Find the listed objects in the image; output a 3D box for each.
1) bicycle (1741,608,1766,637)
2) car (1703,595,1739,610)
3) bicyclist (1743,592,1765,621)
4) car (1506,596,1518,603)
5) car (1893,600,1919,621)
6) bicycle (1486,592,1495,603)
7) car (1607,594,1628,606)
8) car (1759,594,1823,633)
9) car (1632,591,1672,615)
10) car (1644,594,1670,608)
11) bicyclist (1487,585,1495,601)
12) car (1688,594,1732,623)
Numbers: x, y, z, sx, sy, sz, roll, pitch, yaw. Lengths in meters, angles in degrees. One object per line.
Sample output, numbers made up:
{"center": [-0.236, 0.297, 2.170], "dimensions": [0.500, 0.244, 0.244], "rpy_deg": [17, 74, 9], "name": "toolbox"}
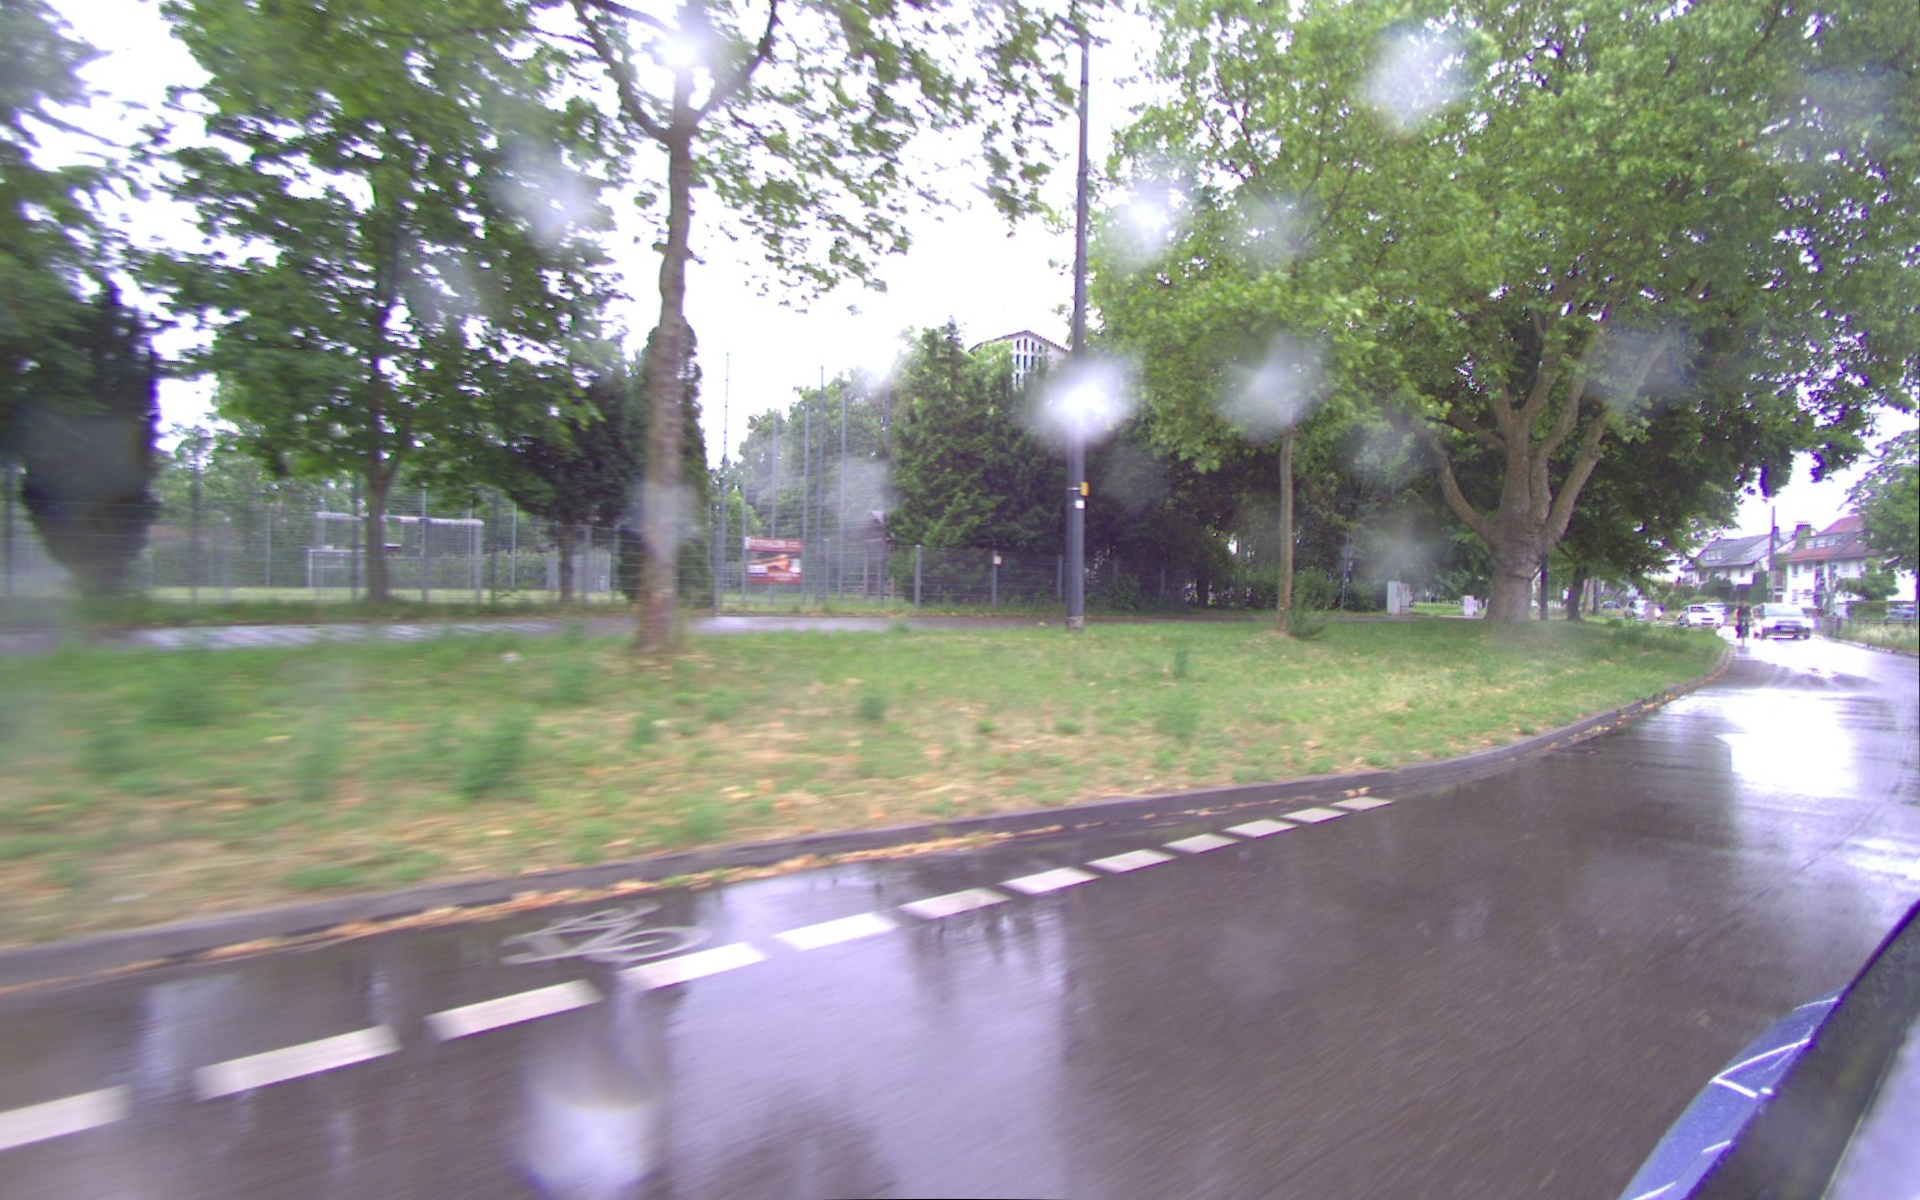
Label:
{"center": [31.121, 0.872, 39.678], "dimensions": [0.657, 1.026, 2.224], "rpy_deg": [2, 2, 40], "name": "bicycle"}
{"center": [82.929, 0.242, 110.376], "dimensions": [1.977, 1.634, 4.649], "rpy_deg": [0, 0, 22], "name": "car"}
{"center": [31.156, 0.257, 39.694], "dimensions": [0.619, 1.098, 0.615], "rpy_deg": [2, 1, 41], "name": "bicyclist"}
{"center": [122.089, -0.193, 223.730], "dimensions": [1.738, 1.535, 3.828], "rpy_deg": [-1, 0, 21], "name": "car"}
{"center": [75.755, 0.851, 78.930], "dimensions": [3.952, 1.596, 1.879], "rpy_deg": [2, 1, 21], "name": "car"}
{"center": [58.255, -0.274, 111.123], "dimensions": [0.708, 1.156, 1.951], "rpy_deg": [1, 2, 30], "name": "bicycle"}
{"center": [97.396, -0.021, 149.915], "dimensions": [1.738, 1.634, 4.082], "rpy_deg": [-1, 0, 21], "name": "car"}
{"center": [38.945, 0.599, 47.510], "dimensions": [1.754, 1.747, 3.890], "rpy_deg": [-1, -1, 31], "name": "car"}
{"center": [55.242, 0.228, 80.890], "dimensions": [1.748, 1.746, 3.906], "rpy_deg": [2, 2, 22], "name": "car"}
{"center": [91.246, 0.124, 132.503], "dimensions": [1.826, 1.727, 4.156], "rpy_deg": [0, 0, 19], "name": "car"}
{"center": [58.237, -0.756, 111.065], "dimensions": [0.708, 1.742, 0.947], "rpy_deg": [1, 2, 31], "name": "bicyclist"}
{"center": [46.998, 0.489, 63.459], "dimensions": [1.754, 1.746, 3.893], "rpy_deg": [0, 1, 30], "name": "car"}
